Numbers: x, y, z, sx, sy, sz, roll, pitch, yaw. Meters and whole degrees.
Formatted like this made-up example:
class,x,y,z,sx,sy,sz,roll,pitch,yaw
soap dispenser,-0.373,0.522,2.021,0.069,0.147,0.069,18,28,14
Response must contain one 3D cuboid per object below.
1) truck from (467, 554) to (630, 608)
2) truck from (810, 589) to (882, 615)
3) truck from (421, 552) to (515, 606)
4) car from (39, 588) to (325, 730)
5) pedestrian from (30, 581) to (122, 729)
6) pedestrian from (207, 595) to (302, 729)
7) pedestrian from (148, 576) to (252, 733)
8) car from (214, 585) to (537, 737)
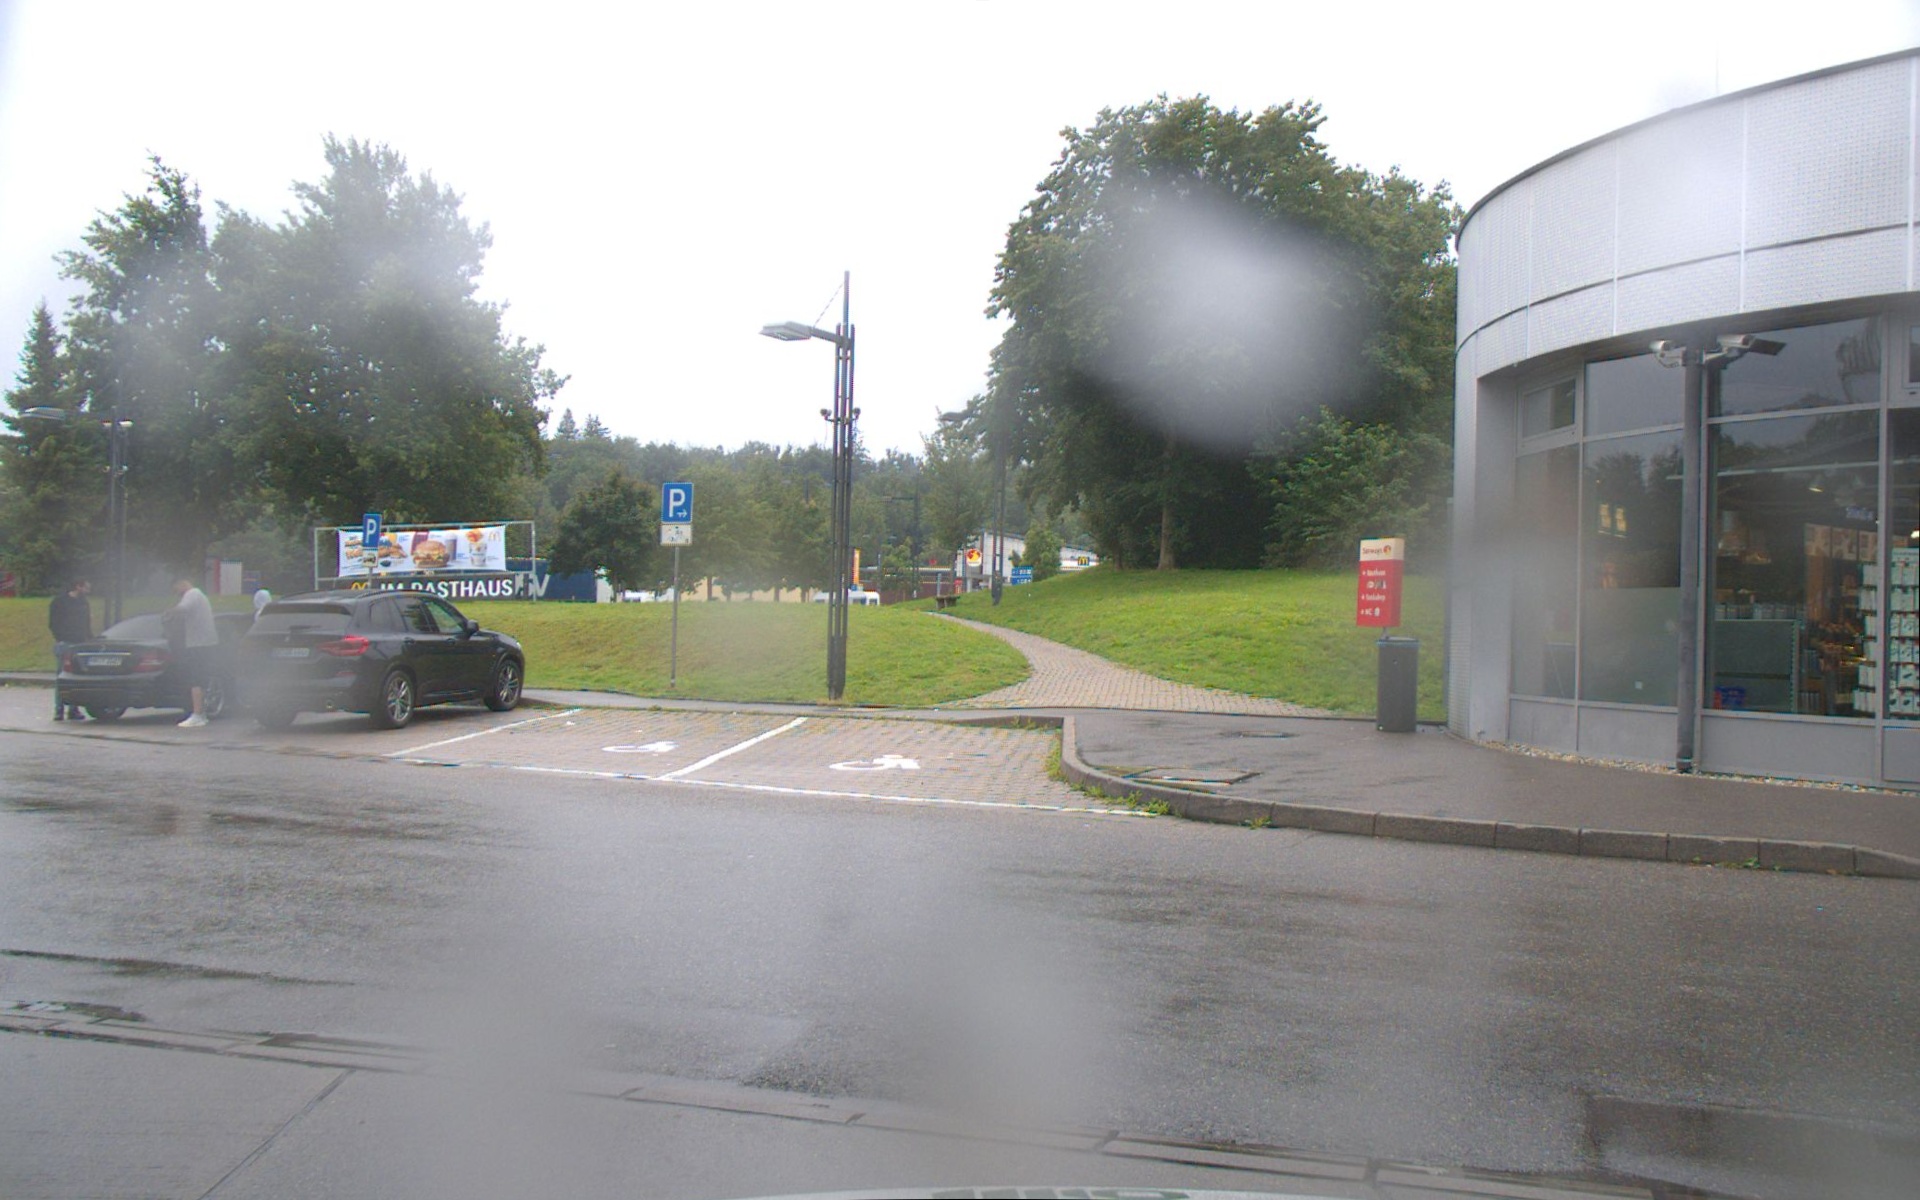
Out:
class,x,y,z,sx,sy,sz,roll,pitch,yaw
truck,-24.924,-1.080,101.253,2.142,2.971,13.092,1,0,23
truck,-9.228,0.146,133.651,5.298,2.049,2.366,1,0,24
truck,-27.974,-1.163,94.238,2.142,2.971,5.384,1,0,24
car,-10.565,0.723,22.874,1.976,1.741,4.342,-1,1,-2
pedestrian,-11.751,0.712,21.996,0.874,1.920,0.702,1,-1,31
pedestrian,-9.038,0.777,21.183,0.945,1.660,0.694,1,-1,-40
pedestrian,-9.561,0.676,20.835,0.931,1.920,0.704,1,-1,3
car,-7.357,0.697,21.356,1.973,1.741,4.347,-1,1,11
